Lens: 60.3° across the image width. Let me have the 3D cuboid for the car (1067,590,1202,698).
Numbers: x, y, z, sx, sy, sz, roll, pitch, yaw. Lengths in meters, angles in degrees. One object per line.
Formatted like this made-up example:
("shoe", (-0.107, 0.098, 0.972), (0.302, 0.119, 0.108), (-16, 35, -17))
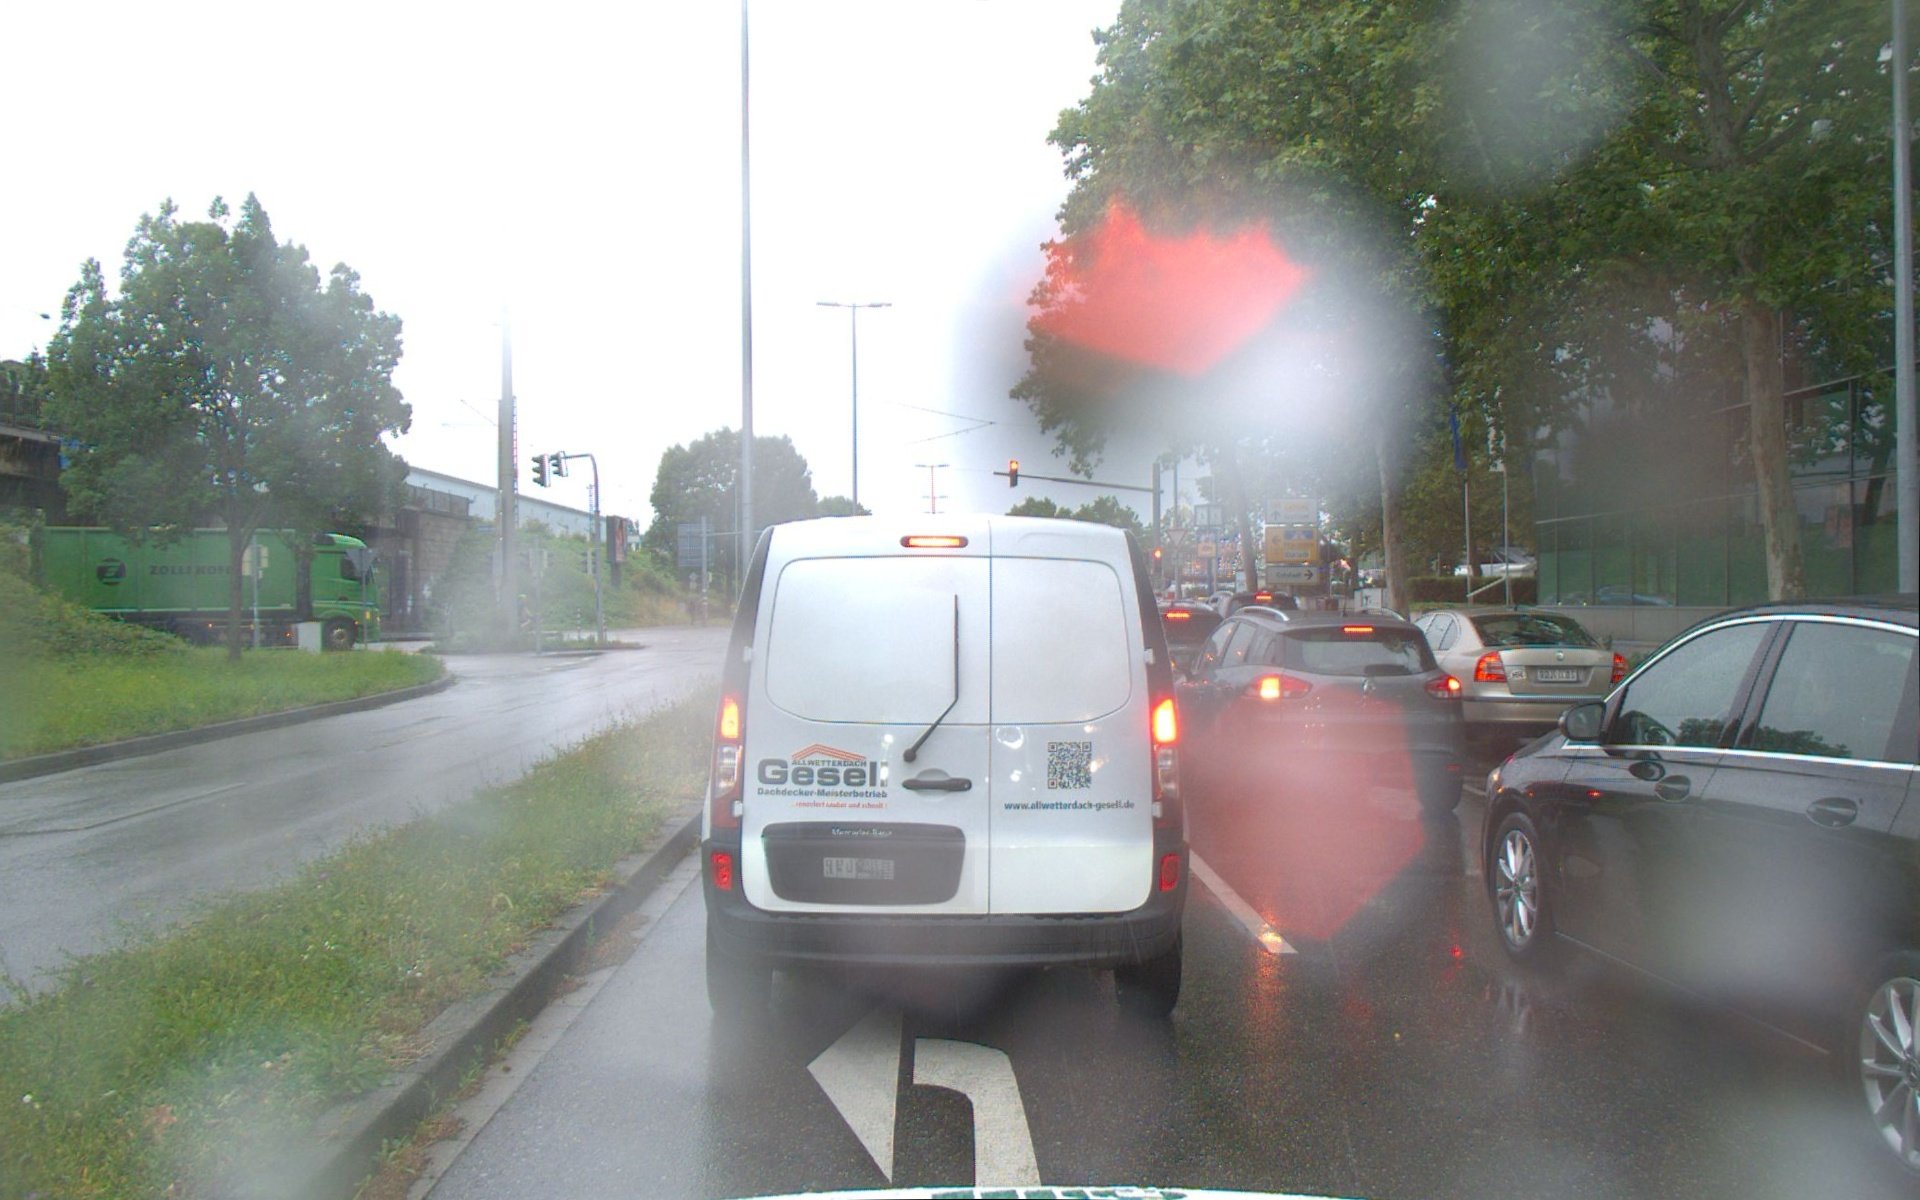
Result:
("car", (2.872, 0.682, 27.890), (1.816, 1.678, 3.842), (0, 0, -1))

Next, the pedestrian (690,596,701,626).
("pedestrian", (-15.352, 0.623, 95.910), (0.532, 1.746, 0.563), (1, -1, -5))

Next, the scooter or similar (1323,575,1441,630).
("scooter or similar", (19.675, 0.106, 77.354), (1.878, 2.489, 5.239), (0, 0, -41))

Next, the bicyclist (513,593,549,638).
("bicyclist", (-14.354, 0.508, 55.312), (1.028, 1.475, 0.723), (-1, 1, -26))

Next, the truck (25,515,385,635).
("truck", (-23.180, -0.744, 51.286), (9.956, 3.430, 2.316), (0, 0, -37))

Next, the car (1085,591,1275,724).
("car", (2.640, 0.642, 20.659), (1.816, 1.486, 3.842), (0, 0, -1))

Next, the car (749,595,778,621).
("car", (-12.602, 0.471, 106.175), (1.439, 1.586, 3.507), (-1, 1, -1))

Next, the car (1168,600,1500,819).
("car", (2.775, 0.742, 13.105), (1.649, 1.433, 3.842), (1, 0, -2))

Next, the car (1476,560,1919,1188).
("car", (3.242, 0.690, 5.444), (1.712, 1.582, 4.089), (0, 0, -2))

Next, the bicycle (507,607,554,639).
("bicycle", (-14.369, 0.760, 55.332), (1.027, 0.968, 2.866), (-1, 1, -25))

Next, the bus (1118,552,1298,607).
("bus", (16.606, -1.389, 111.146), (11.727, 3.483, 2.315), (-1, 1, -1))

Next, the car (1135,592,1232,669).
("car", (5.171, 0.683, 38.697), (1.674, 1.678, 3.842), (1, 0, -1))

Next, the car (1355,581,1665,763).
("car", (5.603, 0.653, 17.406), (1.838, 1.641, 3.999), (2, 1, -1))

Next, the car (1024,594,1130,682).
("car", (2.308, 0.733, 33.544), (1.816, 1.678, 3.842), (0, 0, -1))

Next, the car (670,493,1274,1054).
("car", (0.010, 0.541, 7.639), (1.953, 1.807, 4.584), (0, 0, -1))

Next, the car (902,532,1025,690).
("car", (0.030, 0.147, 26.334), (1.816, 2.336, 3.842), (0, 0, -1))
